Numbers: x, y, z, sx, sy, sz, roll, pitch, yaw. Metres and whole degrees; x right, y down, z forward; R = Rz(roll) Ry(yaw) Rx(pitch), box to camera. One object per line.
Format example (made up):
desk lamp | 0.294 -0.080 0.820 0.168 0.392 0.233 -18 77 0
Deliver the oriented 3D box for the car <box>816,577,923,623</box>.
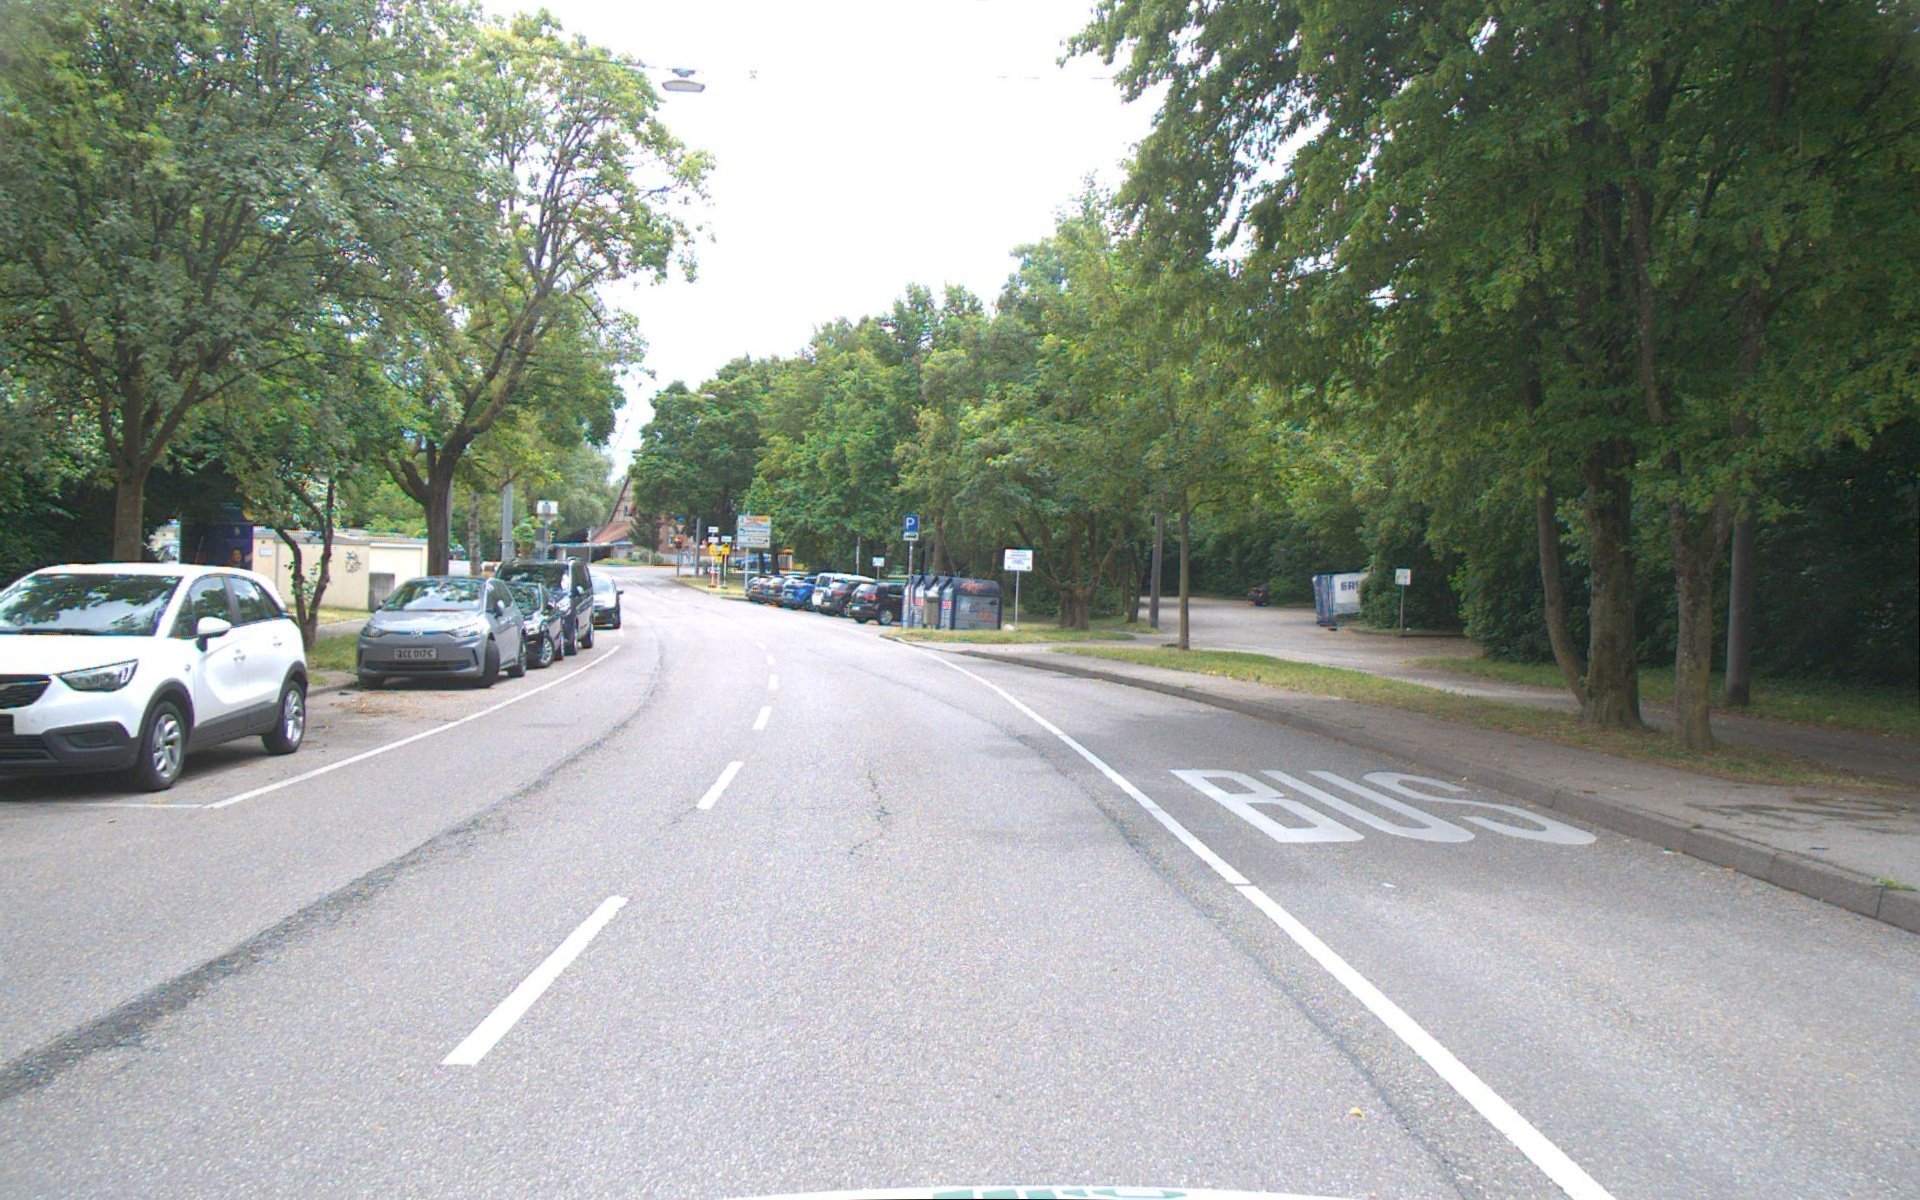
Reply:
car | -3.555 -0.009 65.000 3.784 1.493 1.727 4 0 -34

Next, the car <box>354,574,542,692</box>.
car | -7.437 0.434 24.432 1.830 1.565 4.222 1 0 -6

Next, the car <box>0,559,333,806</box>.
car | -6.413 0.515 12.817 1.701 1.606 4.139 0 0 -3

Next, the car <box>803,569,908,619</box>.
car | -4.278 -0.231 67.819 3.784 1.750 1.857 4 -1 -33

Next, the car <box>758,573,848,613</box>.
car | -7.297 -0.318 76.967 3.784 1.555 1.726 4 -1 -34

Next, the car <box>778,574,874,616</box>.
car | -5.840 -0.218 72.304 3.784 1.555 1.726 4 -1 -34

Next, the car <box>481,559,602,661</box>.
car | -8.605 0.171 34.380 1.823 1.942 5.074 1 0 -8

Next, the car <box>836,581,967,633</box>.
car | -2.007 0.244 56.993 3.950 1.438 2.035 4 1 -33

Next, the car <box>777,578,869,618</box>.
car | -6.225 -0.091 75.203 3.784 1.555 1.726 4 -1 -34

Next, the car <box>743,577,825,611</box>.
car | -8.991 -0.307 84.716 3.784 1.450 1.726 4 -1 -34

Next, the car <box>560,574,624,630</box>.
car | -11.219 0.041 50.549 1.773 1.590 4.254 -2 1 -12

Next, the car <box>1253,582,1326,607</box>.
car | 19.586 -0.330 98.411 3.912 1.434 1.797 1 0 -8

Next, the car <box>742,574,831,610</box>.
car | -8.379 -0.385 79.951 3.838 1.451 1.809 4 -1 -34
